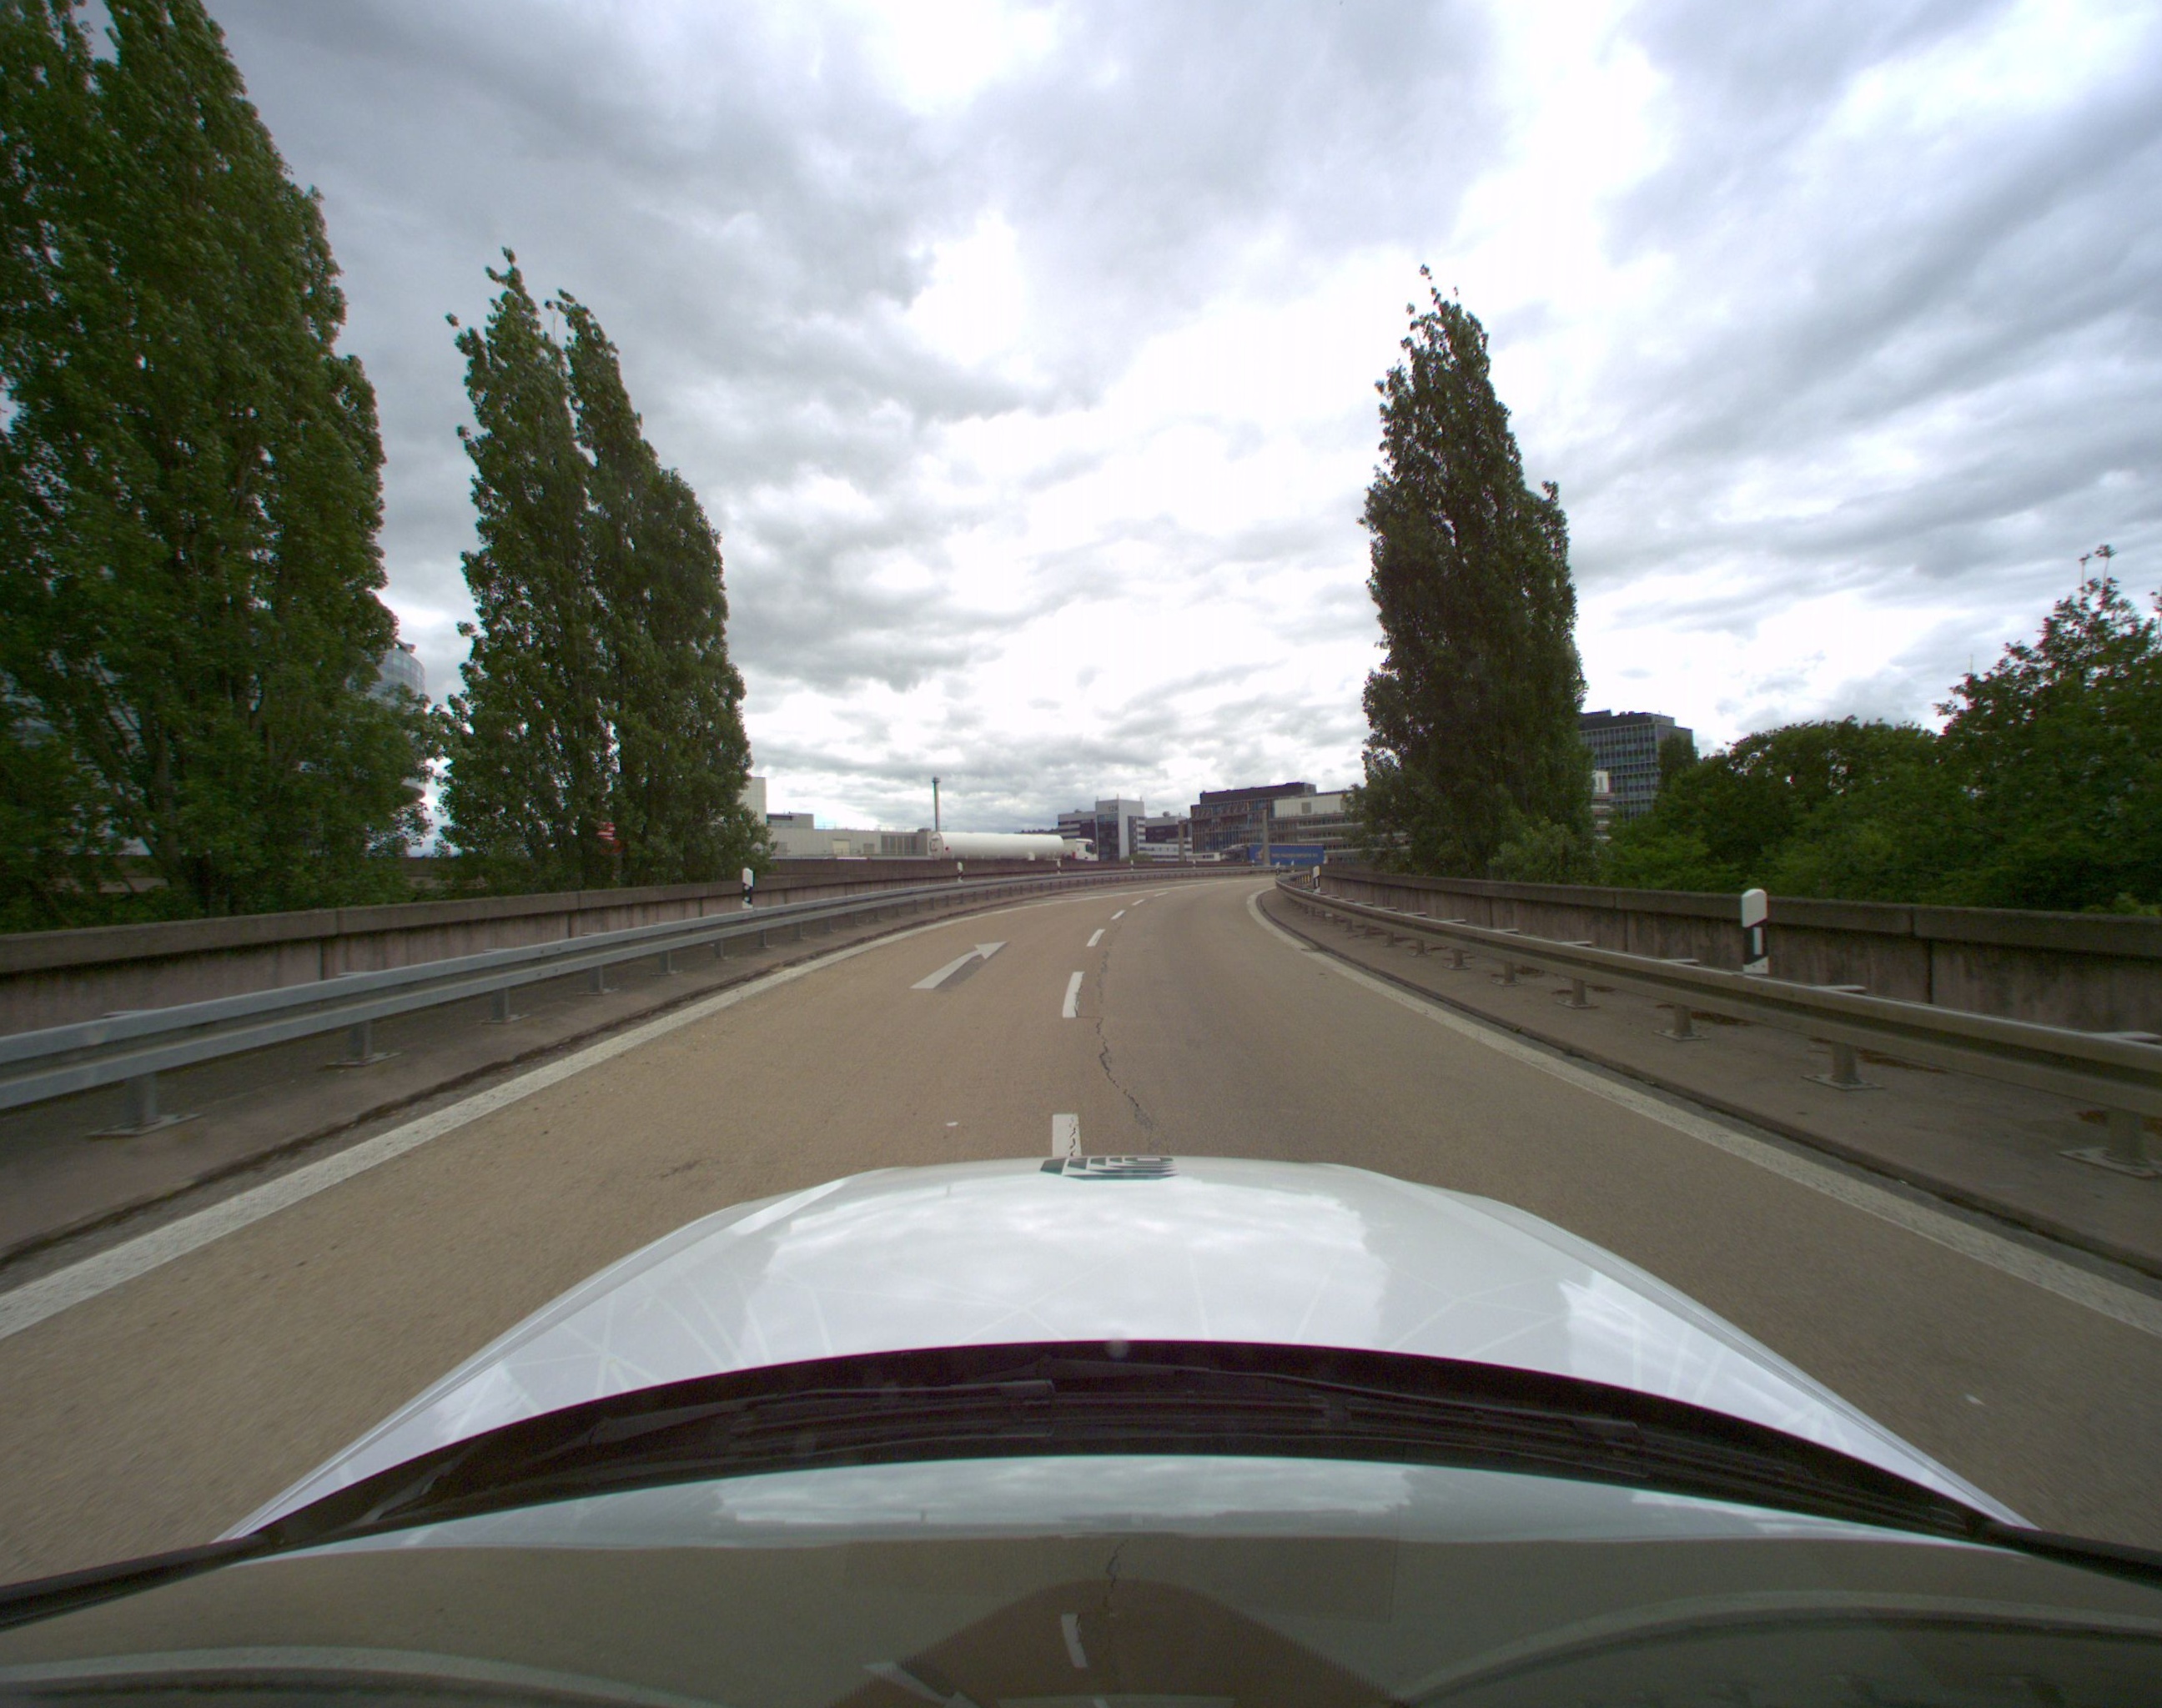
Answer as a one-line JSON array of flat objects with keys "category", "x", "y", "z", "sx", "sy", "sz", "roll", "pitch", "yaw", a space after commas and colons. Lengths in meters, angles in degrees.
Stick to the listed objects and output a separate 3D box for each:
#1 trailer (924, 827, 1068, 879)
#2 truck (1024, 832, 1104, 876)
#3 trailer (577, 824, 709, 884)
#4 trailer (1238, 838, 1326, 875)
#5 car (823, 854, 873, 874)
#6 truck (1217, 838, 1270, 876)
[{"category": "trailer", "x": -6.462, "y": -0.094, "z": 63.484, "sx": 11.201, "sy": 3.738, "sz": 2.770, "roll": 0, "pitch": -2, "yaw": -35}, {"category": "truck", "x": -1.378, "y": 0.035, "z": 67.064, "sx": 5.990, "sy": 3.431, "sz": 2.748, "roll": 0, "pitch": -2, "yaw": -35}, {"category": "trailer", "x": -28.662, "y": 0.024, "z": 53.454, "sx": 7.343, "sy": 3.691, "sz": 2.670, "roll": 0, "pitch": -2, "yaw": -35}, {"category": "trailer", "x": 25.610, "y": 0.315, "z": 103.184, "sx": 12.566, "sy": 4.347, "sz": 3.138, "roll": 0, "pitch": -2, "yaw": -34}, {"category": "car", "x": -19.555, "y": 0.809, "z": 68.322, "sx": 3.663, "sy": 1.518, "sz": 1.672, "roll": 0, "pitch": 2, "yaw": -33}, {"category": "truck", "x": 19.826, "y": 0.361, "z": 99.301, "sx": 5.715, "sy": 4.347, "sz": 3.138, "roll": 0, "pitch": -2, "yaw": -33}]
